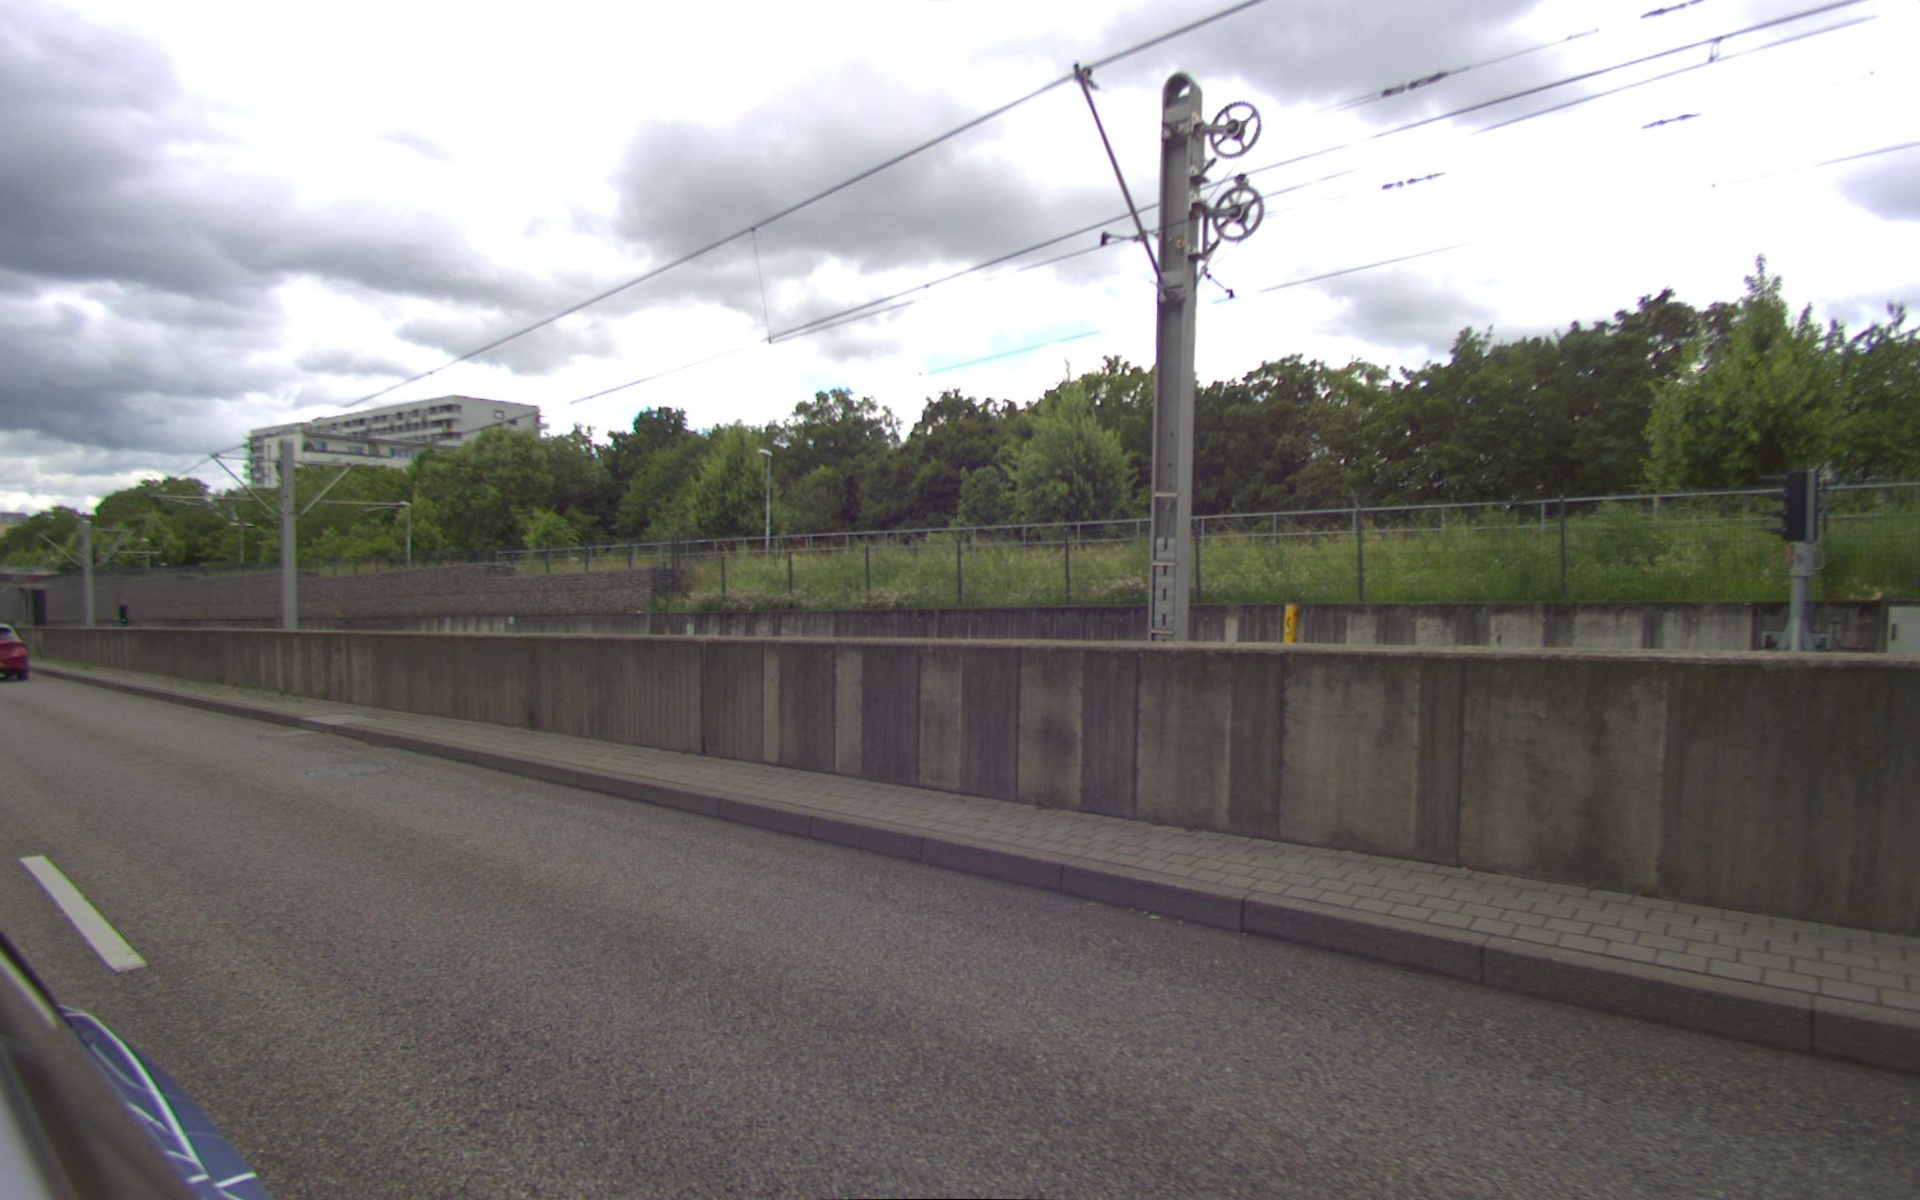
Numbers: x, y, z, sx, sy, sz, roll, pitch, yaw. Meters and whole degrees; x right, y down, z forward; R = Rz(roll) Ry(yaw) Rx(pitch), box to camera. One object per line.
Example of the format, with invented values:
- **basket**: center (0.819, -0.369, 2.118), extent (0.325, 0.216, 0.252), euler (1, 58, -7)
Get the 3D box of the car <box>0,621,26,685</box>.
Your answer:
- **car**: center (-25.101, 1.325, 25.641), extent (3.950, 1.557, 1.646), euler (-2, -2, 40)
